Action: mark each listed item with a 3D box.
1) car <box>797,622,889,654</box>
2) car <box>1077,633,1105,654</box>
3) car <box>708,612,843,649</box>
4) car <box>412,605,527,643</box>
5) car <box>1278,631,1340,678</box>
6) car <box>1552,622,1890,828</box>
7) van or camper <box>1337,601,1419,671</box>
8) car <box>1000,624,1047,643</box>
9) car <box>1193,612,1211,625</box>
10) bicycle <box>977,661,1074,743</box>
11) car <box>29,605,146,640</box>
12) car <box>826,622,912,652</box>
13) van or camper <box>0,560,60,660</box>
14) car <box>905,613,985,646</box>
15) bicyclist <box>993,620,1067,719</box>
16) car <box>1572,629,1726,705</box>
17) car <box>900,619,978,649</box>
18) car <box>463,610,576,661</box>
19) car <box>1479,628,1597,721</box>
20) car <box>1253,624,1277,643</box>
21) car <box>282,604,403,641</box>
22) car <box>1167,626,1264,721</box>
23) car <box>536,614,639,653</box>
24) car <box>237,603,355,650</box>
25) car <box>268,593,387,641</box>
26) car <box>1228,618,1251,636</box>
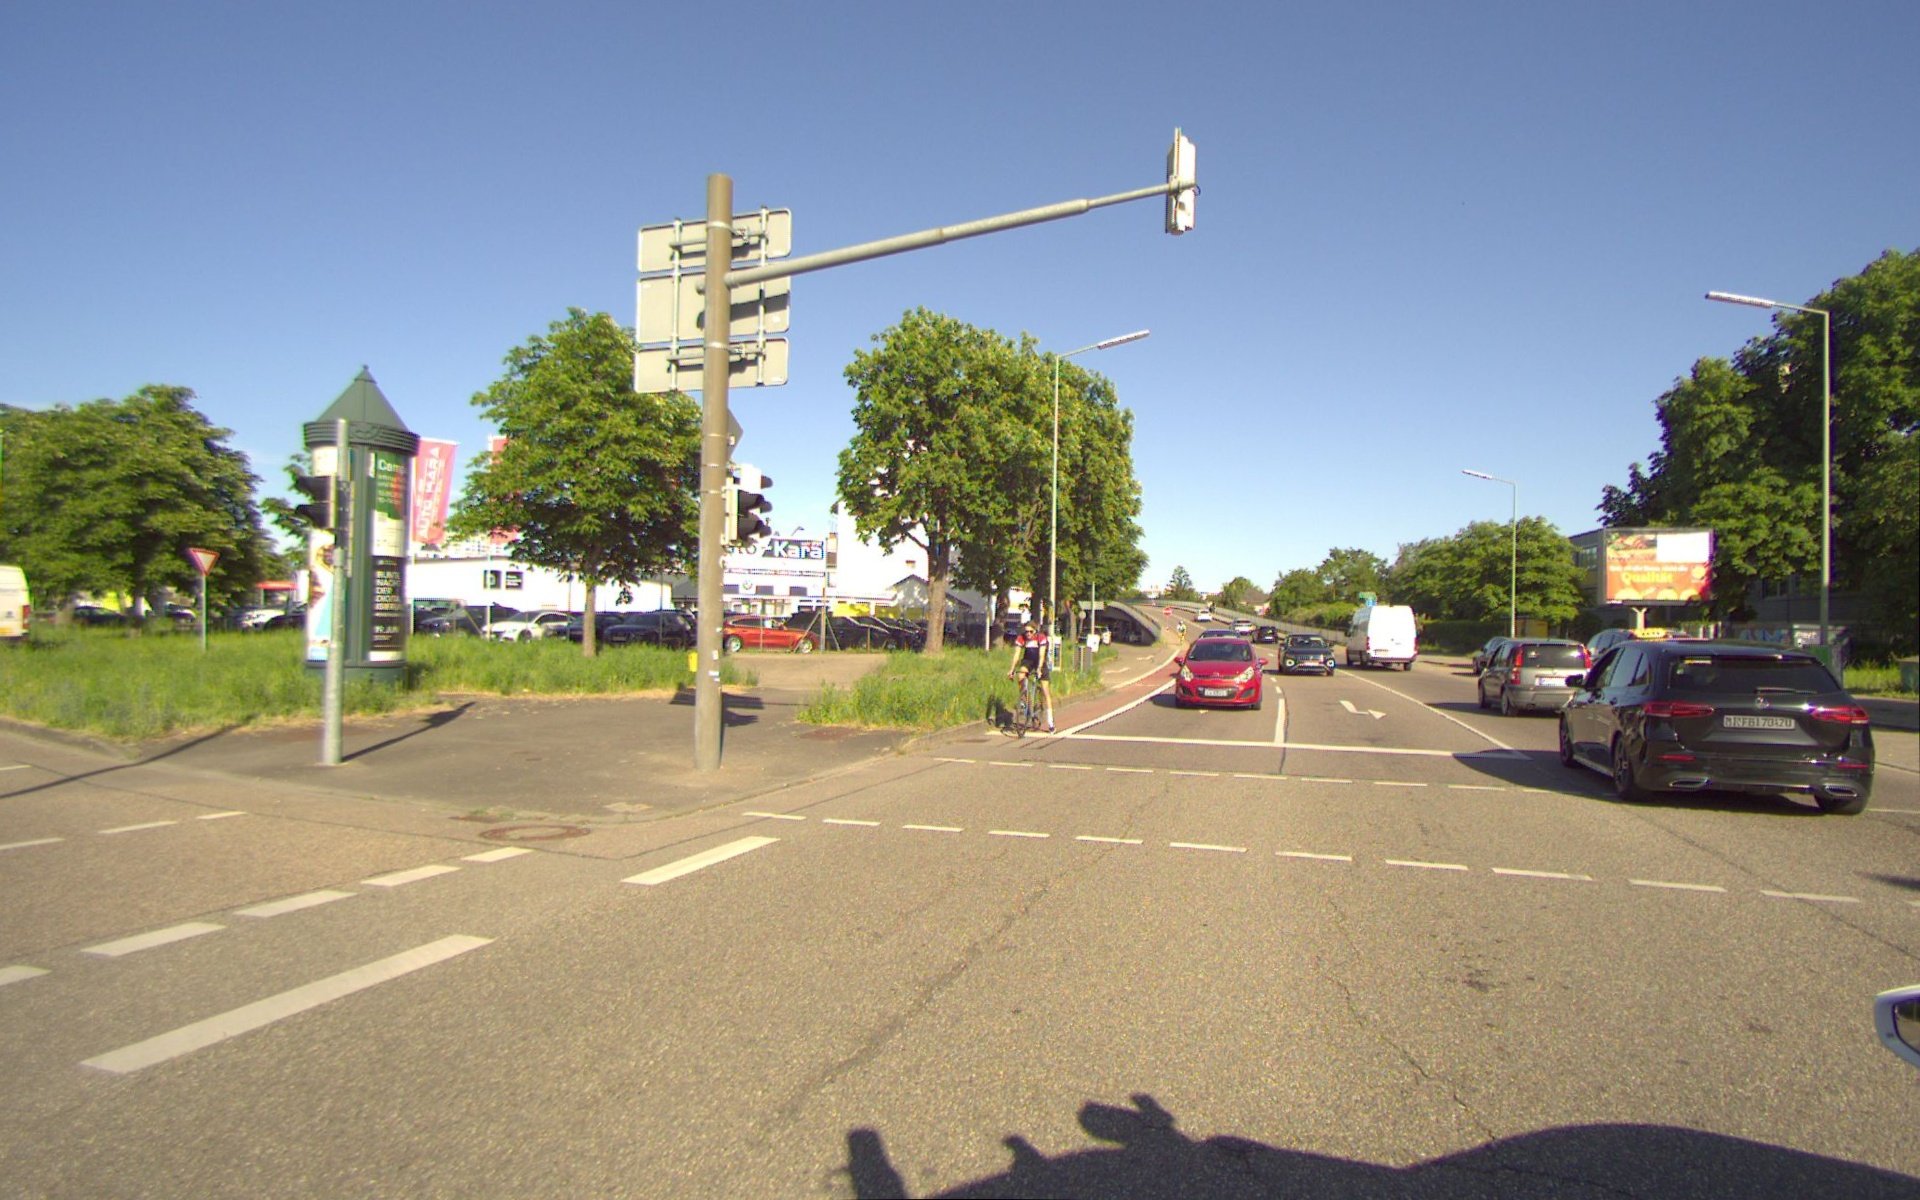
[{"bbox_3d":[-5.065,1.643,43.670,3.859,1.257,2.042,1,-1,-6],"label":"car"},{"bbox_3d":[10.000,3.289,76.555,2.003,1.483,4.965,1,-1,9],"label":"car"},{"bbox_3d":[-7.348,1.220,39.874,4.983,1.327,2.350,2,-1,-20],"label":"car"},{"bbox_3d":[-20.063,0.995,41.269,1.960,1.460,4.001,1,-2,18],"label":"car"},{"bbox_3d":[13.094,2.011,37.854,1.880,1.620,4.002,0,-2,15],"label":"car"},{"bbox_3d":[7.389,1.073,10.231,1.741,1.613,3.988,1,-2,22],"label":"car"},{"bbox_3d":[18.123,1.514,43.934,2.188,2.775,7.084,1,-1,14],"label":"van or camper"},{"bbox_3d":[5.449,2.894,86.506,3.612,1.530,1.777,2,-1,-18],"label":"car"},{"bbox_3d":[29.384,2.272,122.056,1.845,1.564,4.003,1,-1,10],"label":"car"},{"bbox_3d":[1.035,1.486,15.109,0.921,1.030,2.197,1,-1,18],"label":"bicycle"},{"bbox_3d":[-40.596,1.058,46.793,1.902,1.550,3.976,0,-2,44],"label":"car"},{"bbox_3d":[-4.222,1.699,46.410,3.859,1.257,2.042,1,-1,-6],"label":"car"},{"bbox_3d":[-28.045,0.296,27.626,6.488,2.617,2.604,-1,-2,26],"label":"van or camper"},{"bbox_3d":[-0.804,1.483,51.516,3.925,1.581,1.998,1,-1,-7],"label":"car"},{"bbox_3d":[1.066,1.020,15.180,0.917,1.420,0.823,1,0,18],"label":"bicyclist"},{"bbox_3d":[17.294,1.633,25.475,1.841,1.745,4.614,-1,-2,17],"label":"car"},{"bbox_3d":[-1.236,1.961,57.923,4.328,1.596,1.812,1,-1,-8],"label":"car"},{"bbox_3d":[-17.630,1.410,40.430,1.960,1.911,4.001,0,-2,18],"label":"car"},{"bbox_3d":[11.696,1.442,20.541,1.776,1.661,3.997,1,-2,26],"label":"car"},{"bbox_3d":[24.980,2.788,82.206,1.886,1.508,4.272,0,-2,17],"label":"car"},{"bbox_3d":[-25.780,0.931,42.081,1.804,1.427,3.998,1,-1,24],"label":"car"},{"bbox_3d":[5.555,1.494,21.839,1.821,1.759,4.272,1,-1,15],"label":"car"},{"bbox_3d":[-14.838,1.341,40.235,1.710,1.481,4.001,1,-2,18],"label":"car"},{"bbox_3d":[-30.191,1.199,45.769,1.964,2.040,3.993,1,-1,30],"label":"car"},{"bbox_3d":[-27.993,0.769,44.546,1.965,2.040,3.992,0,-2,31],"label":"car"},{"bbox_3d":[26.785,2.606,96.217,1.960,1.702,4.001,0,-2,18],"label":"car"}]
